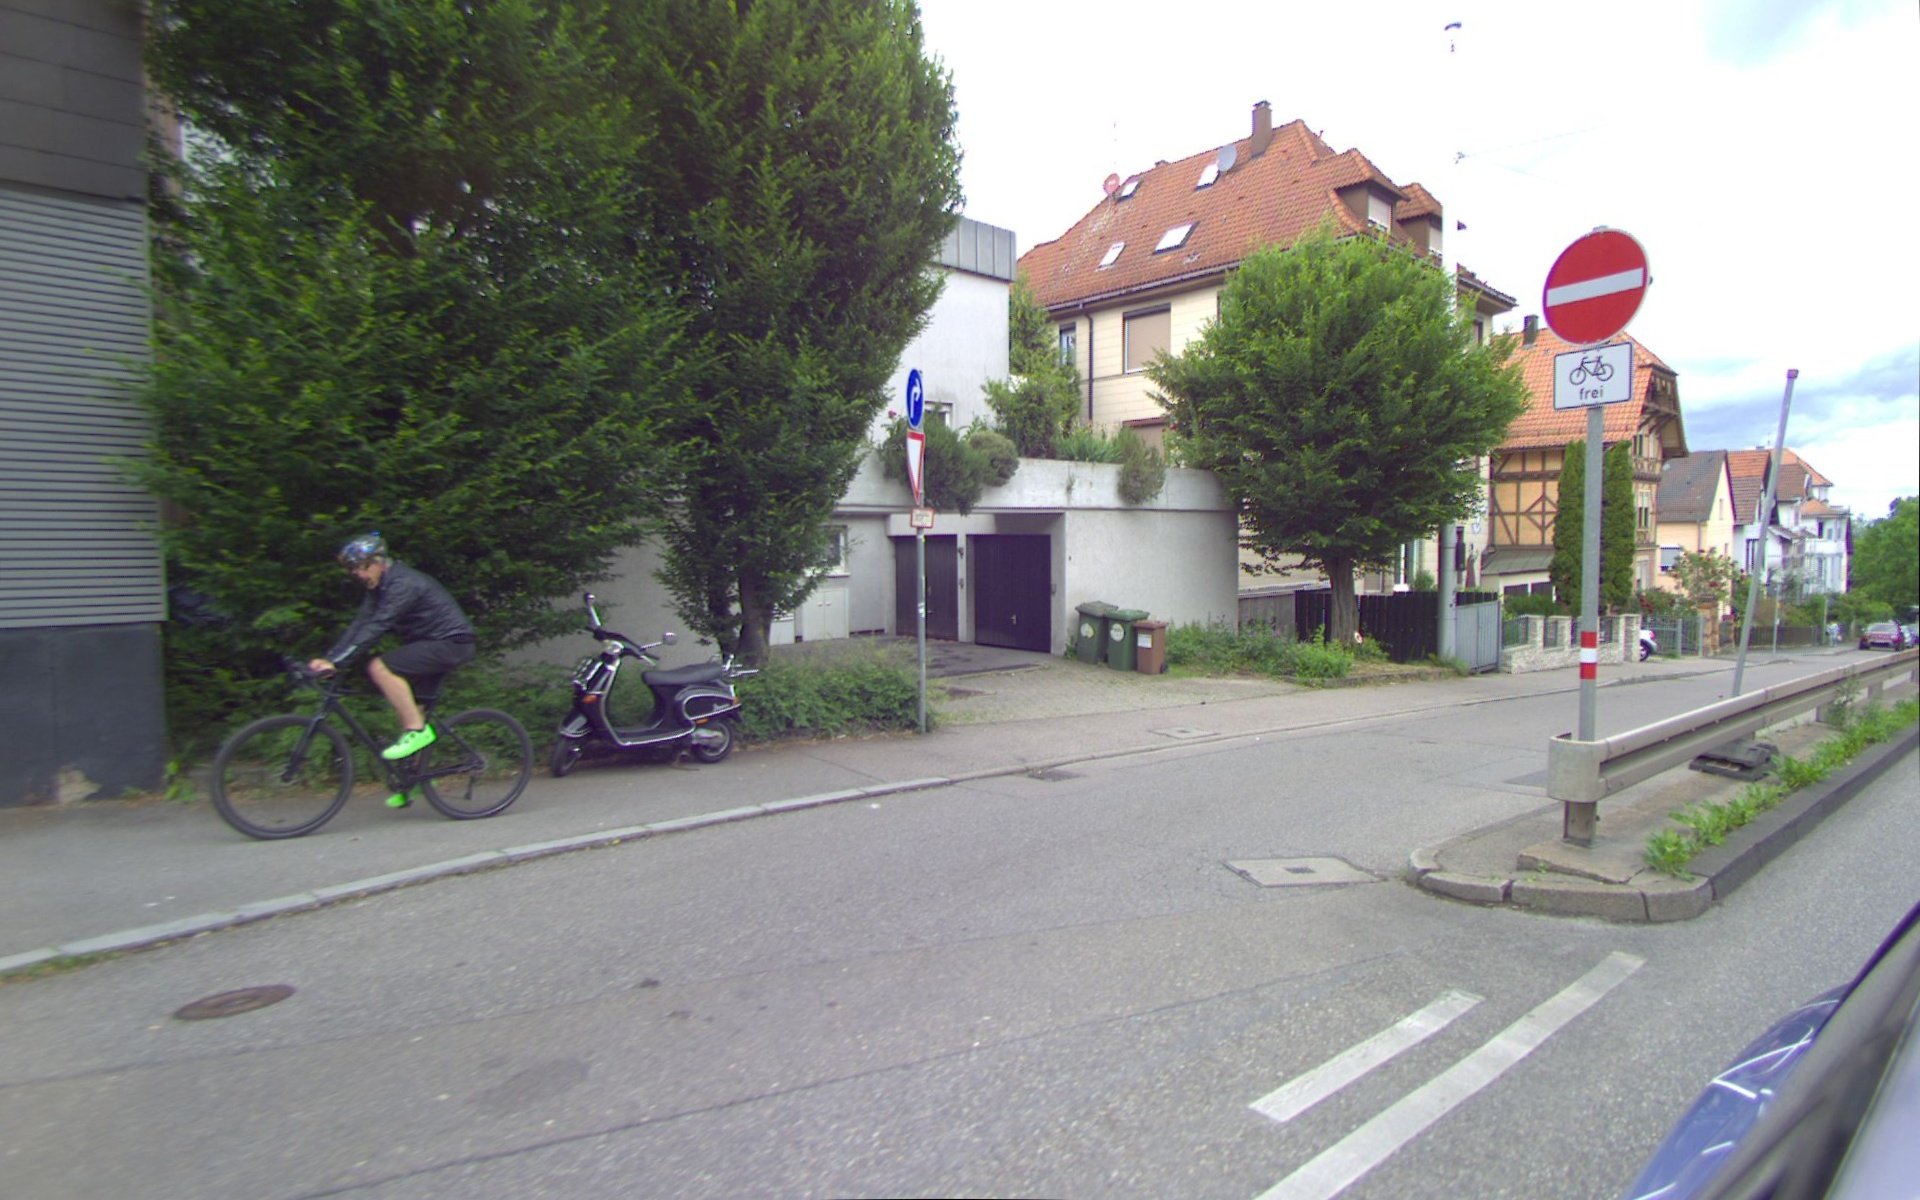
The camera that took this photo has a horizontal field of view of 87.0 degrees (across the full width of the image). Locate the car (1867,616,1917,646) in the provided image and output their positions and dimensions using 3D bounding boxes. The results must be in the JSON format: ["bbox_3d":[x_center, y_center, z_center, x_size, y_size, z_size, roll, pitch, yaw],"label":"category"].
[{"bbox_3d":[54.898,1.810,59.584,3.933,1.672,1.920,1,0,-43],"label":"car"}]

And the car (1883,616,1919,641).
[{"bbox_3d":[61.632,1.813,65.966,3.933,1.518,1.920,1,0,-43],"label":"car"}]

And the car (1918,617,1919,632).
[{"bbox_3d":[88.701,2.244,92.214,3.933,1.379,1.848,1,0,-44],"label":"car"}]

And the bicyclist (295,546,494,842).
[{"bbox_3d":[-3.432,0.524,6.162,0.931,1.654,0.538,1,0,-42],"label":"bicyclist"}]

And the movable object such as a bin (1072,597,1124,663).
[{"bbox_3d":[2.493,0.539,18.320,0.644,1.092,0.543,1,7,-42],"label":"movable object such as a bin"}]

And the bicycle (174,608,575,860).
[{"bbox_3d":[-3.461,0.711,6.138,2.004,1.278,0.572,1,1,-43],"label":"bicycle"}]

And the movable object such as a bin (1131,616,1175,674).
[{"bbox_3d":[3.357,0.774,17.598,0.551,0.951,0.453,1,4,-42],"label":"movable object such as a bin"}]

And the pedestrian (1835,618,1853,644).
[{"bbox_3d":[50.879,1.777,58.258,0.683,1.489,0.712,1,0,-43],"label":"pedestrian"}]

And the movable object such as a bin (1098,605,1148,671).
[{"bbox_3d":[2.877,0.662,17.898,0.551,1.066,0.543,1,7,-42],"label":"movable object such as a bin"}]

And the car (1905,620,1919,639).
[{"bbox_3d":[73.268,2.239,76.946,3.933,1.379,1.848,1,1,-44],"label":"car"}]

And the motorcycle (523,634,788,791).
[{"bbox_3d":[-2.437,0.849,8.252,1.932,1.064,0.697,1,2,-41],"label":"motorcycle"}]

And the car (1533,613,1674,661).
[{"bbox_3d":[21.097,1.228,33.345,3.765,1.423,1.530,-4,-3,30],"label":"car"}]
